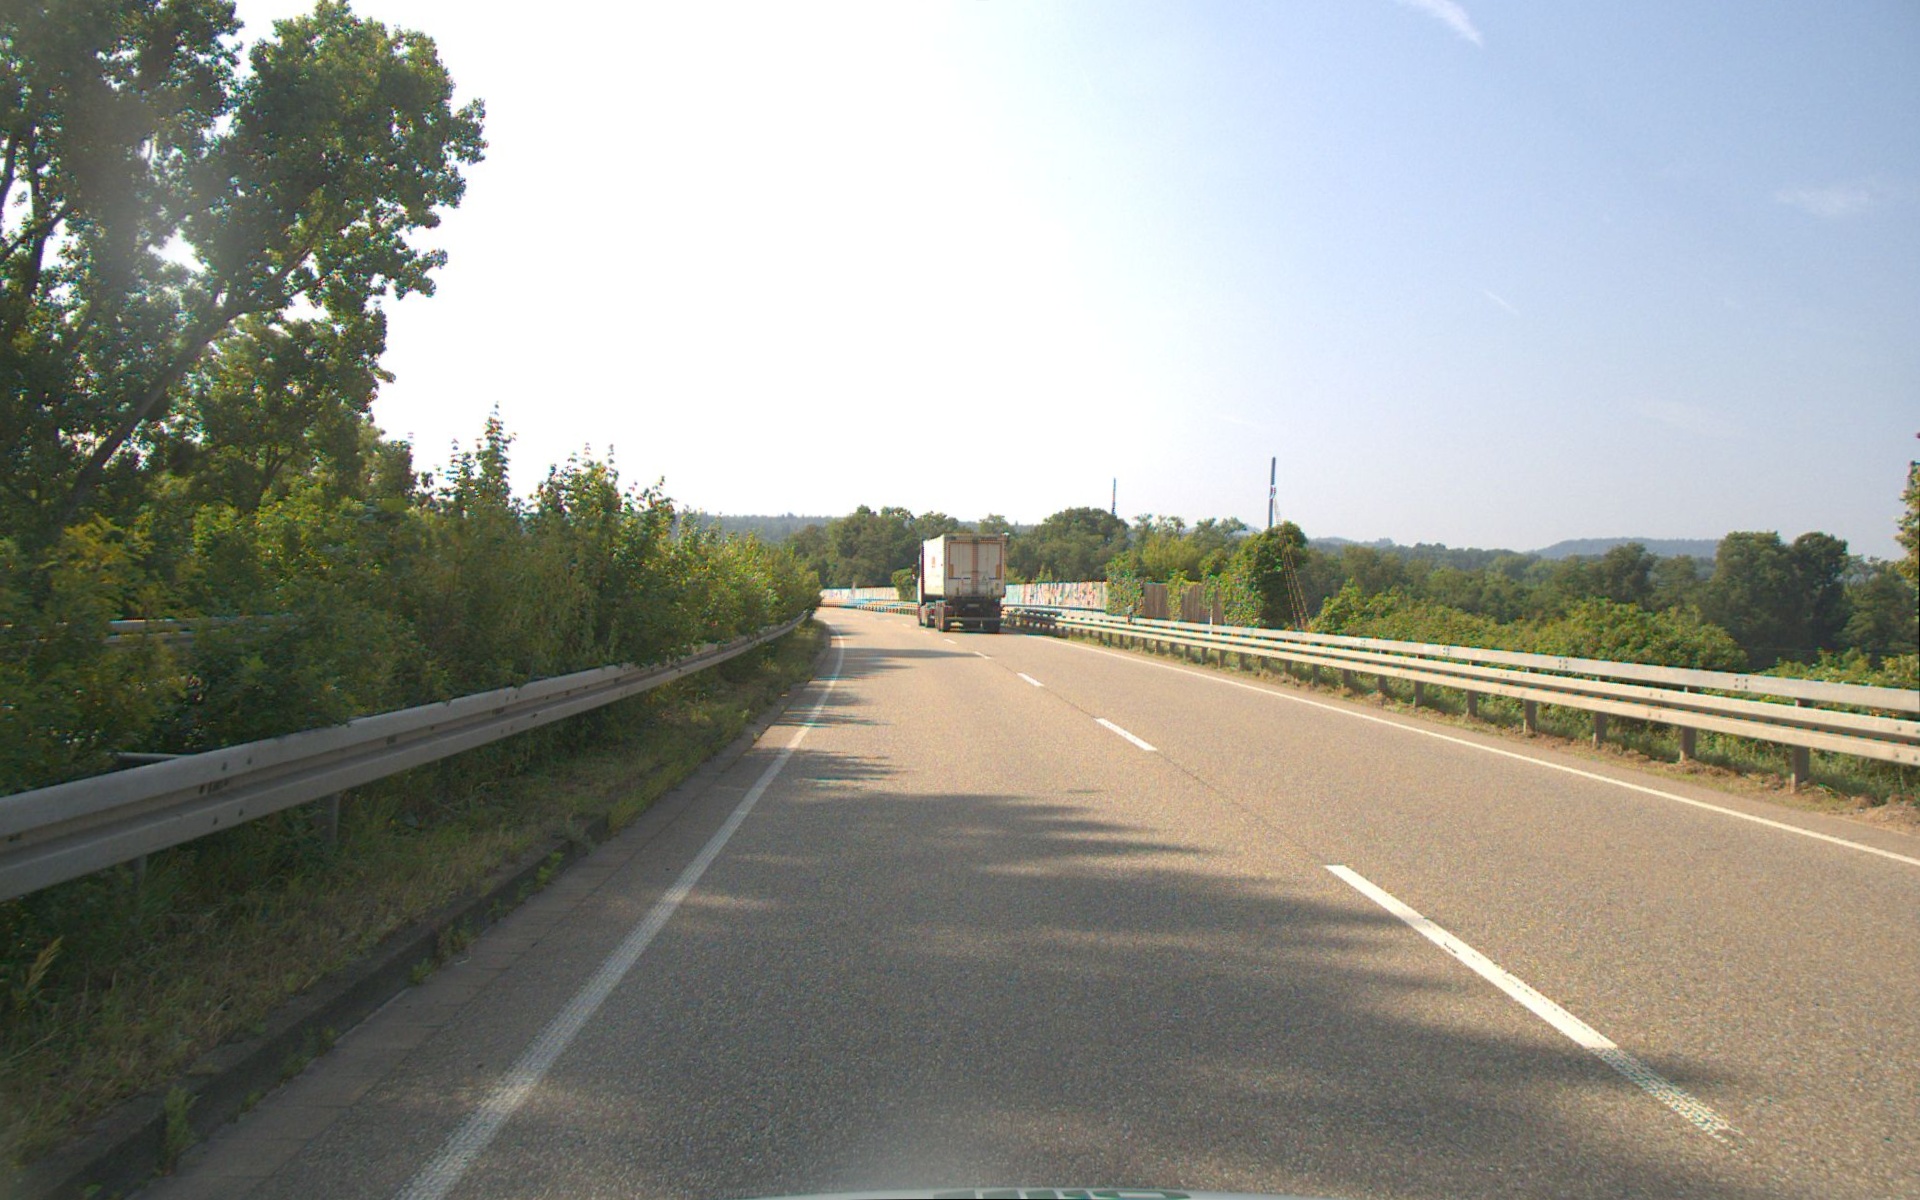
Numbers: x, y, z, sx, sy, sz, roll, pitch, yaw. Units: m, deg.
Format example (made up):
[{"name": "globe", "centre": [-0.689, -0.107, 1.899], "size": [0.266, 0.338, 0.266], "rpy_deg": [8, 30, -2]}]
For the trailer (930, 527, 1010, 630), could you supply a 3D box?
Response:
[{"name": "trailer", "centre": [0.320, -0.865, 69.754], "size": [2.626, 3.975, 9.665], "rpy_deg": [1, 0, -4]}]

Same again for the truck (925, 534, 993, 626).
[{"name": "truck", "centre": [-0.093, -0.899, 75.680], "size": [2.607, 3.964, 5.642], "rpy_deg": [1, 0, -5]}]
